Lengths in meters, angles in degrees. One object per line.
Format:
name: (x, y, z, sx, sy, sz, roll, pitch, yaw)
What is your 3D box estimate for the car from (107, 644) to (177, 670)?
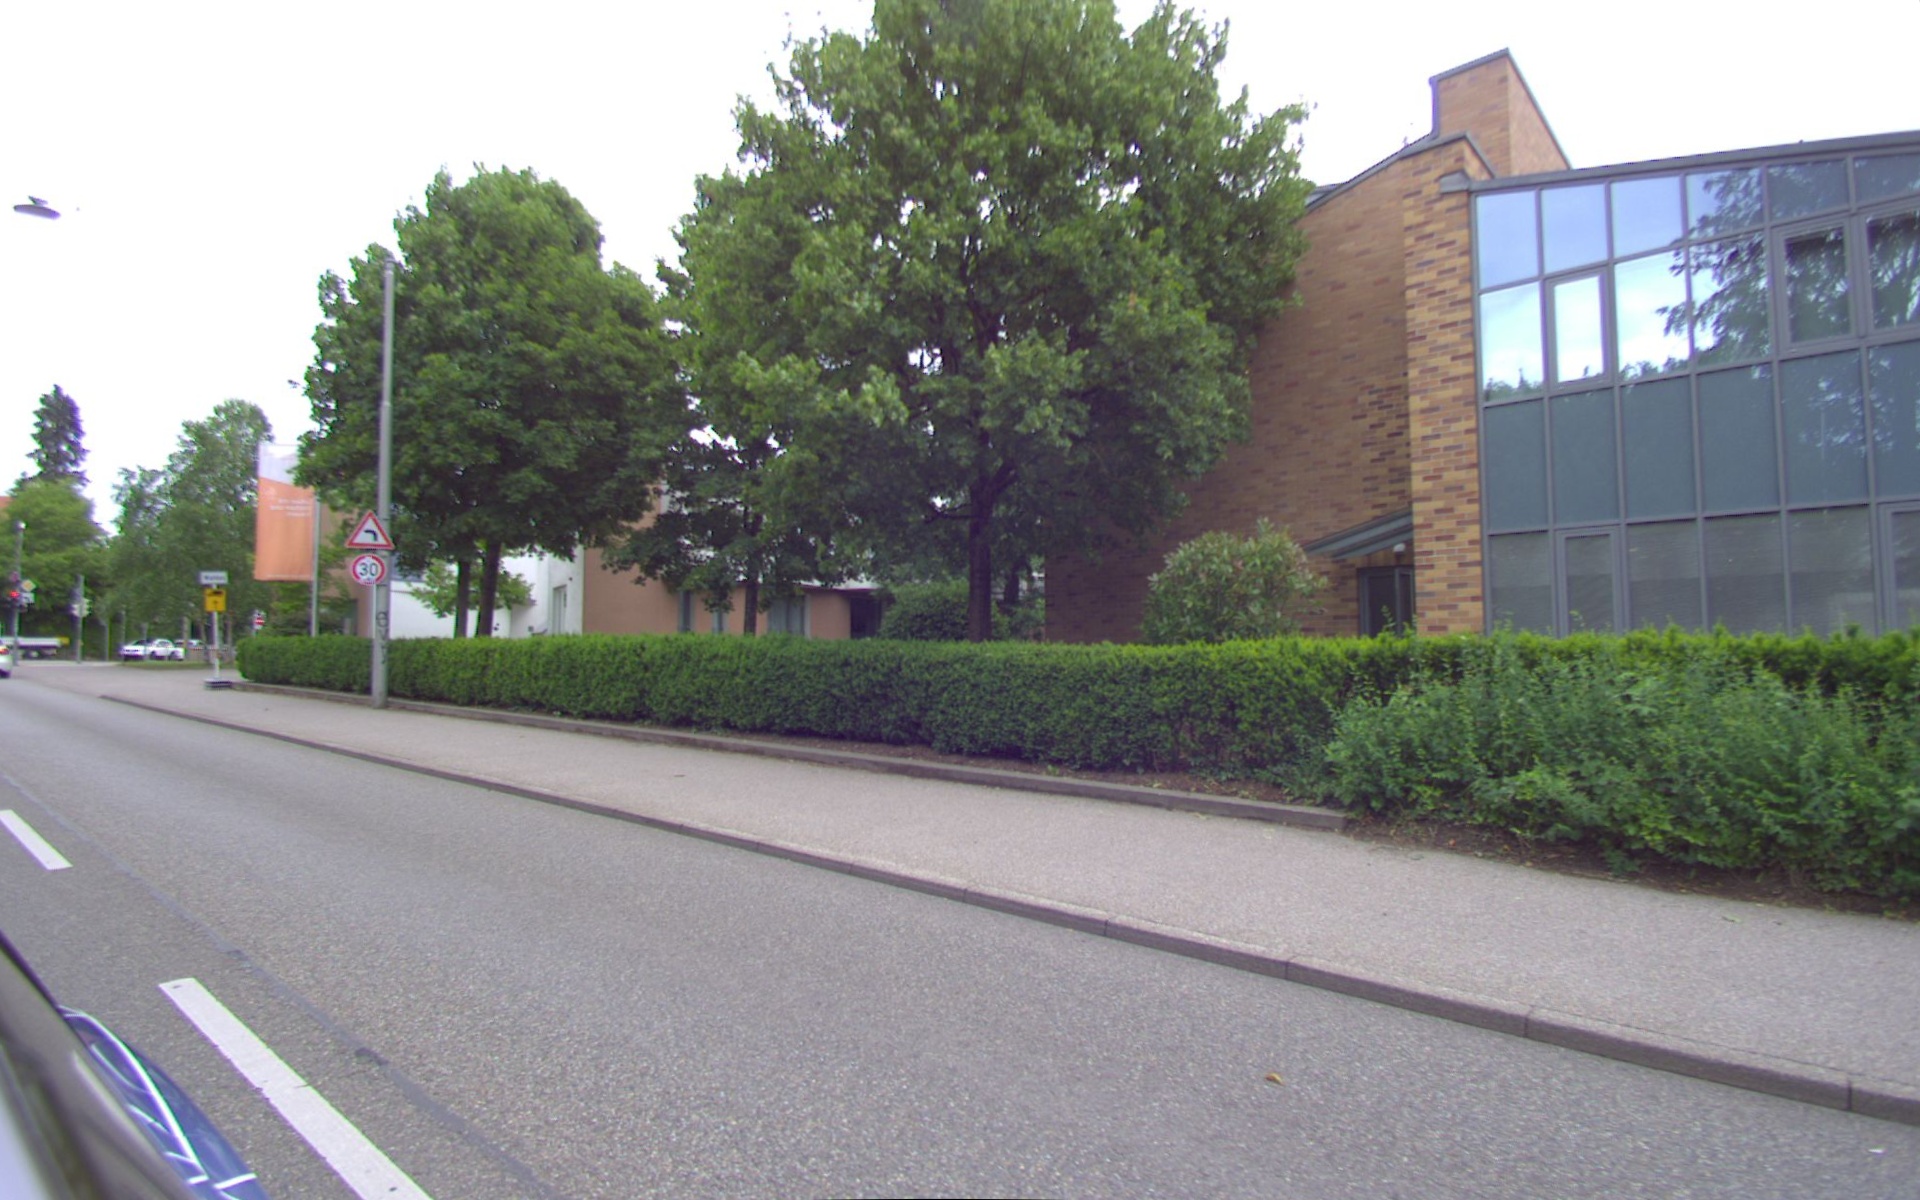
car: (-55.701, 3.914, 69.012, 1.967, 1.625, 4.008, 2, -4, -11)

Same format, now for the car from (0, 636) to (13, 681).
car: (-32.604, 1.862, 33.187, 4.063, 1.432, 1.748, -2, -6, 41)

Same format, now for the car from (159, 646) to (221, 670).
car: (-56.631, 4.286, 74.548, 1.967, 1.625, 4.008, 2, -4, -11)

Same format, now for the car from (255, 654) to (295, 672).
car: (-63.749, 5.857, 94.215, 1.841, 1.599, 3.741, 2, -4, -14)

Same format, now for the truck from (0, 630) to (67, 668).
truck: (-58.899, 2.937, 61.506, 6.610, 2.205, 2.534, 5, -5, -38)
